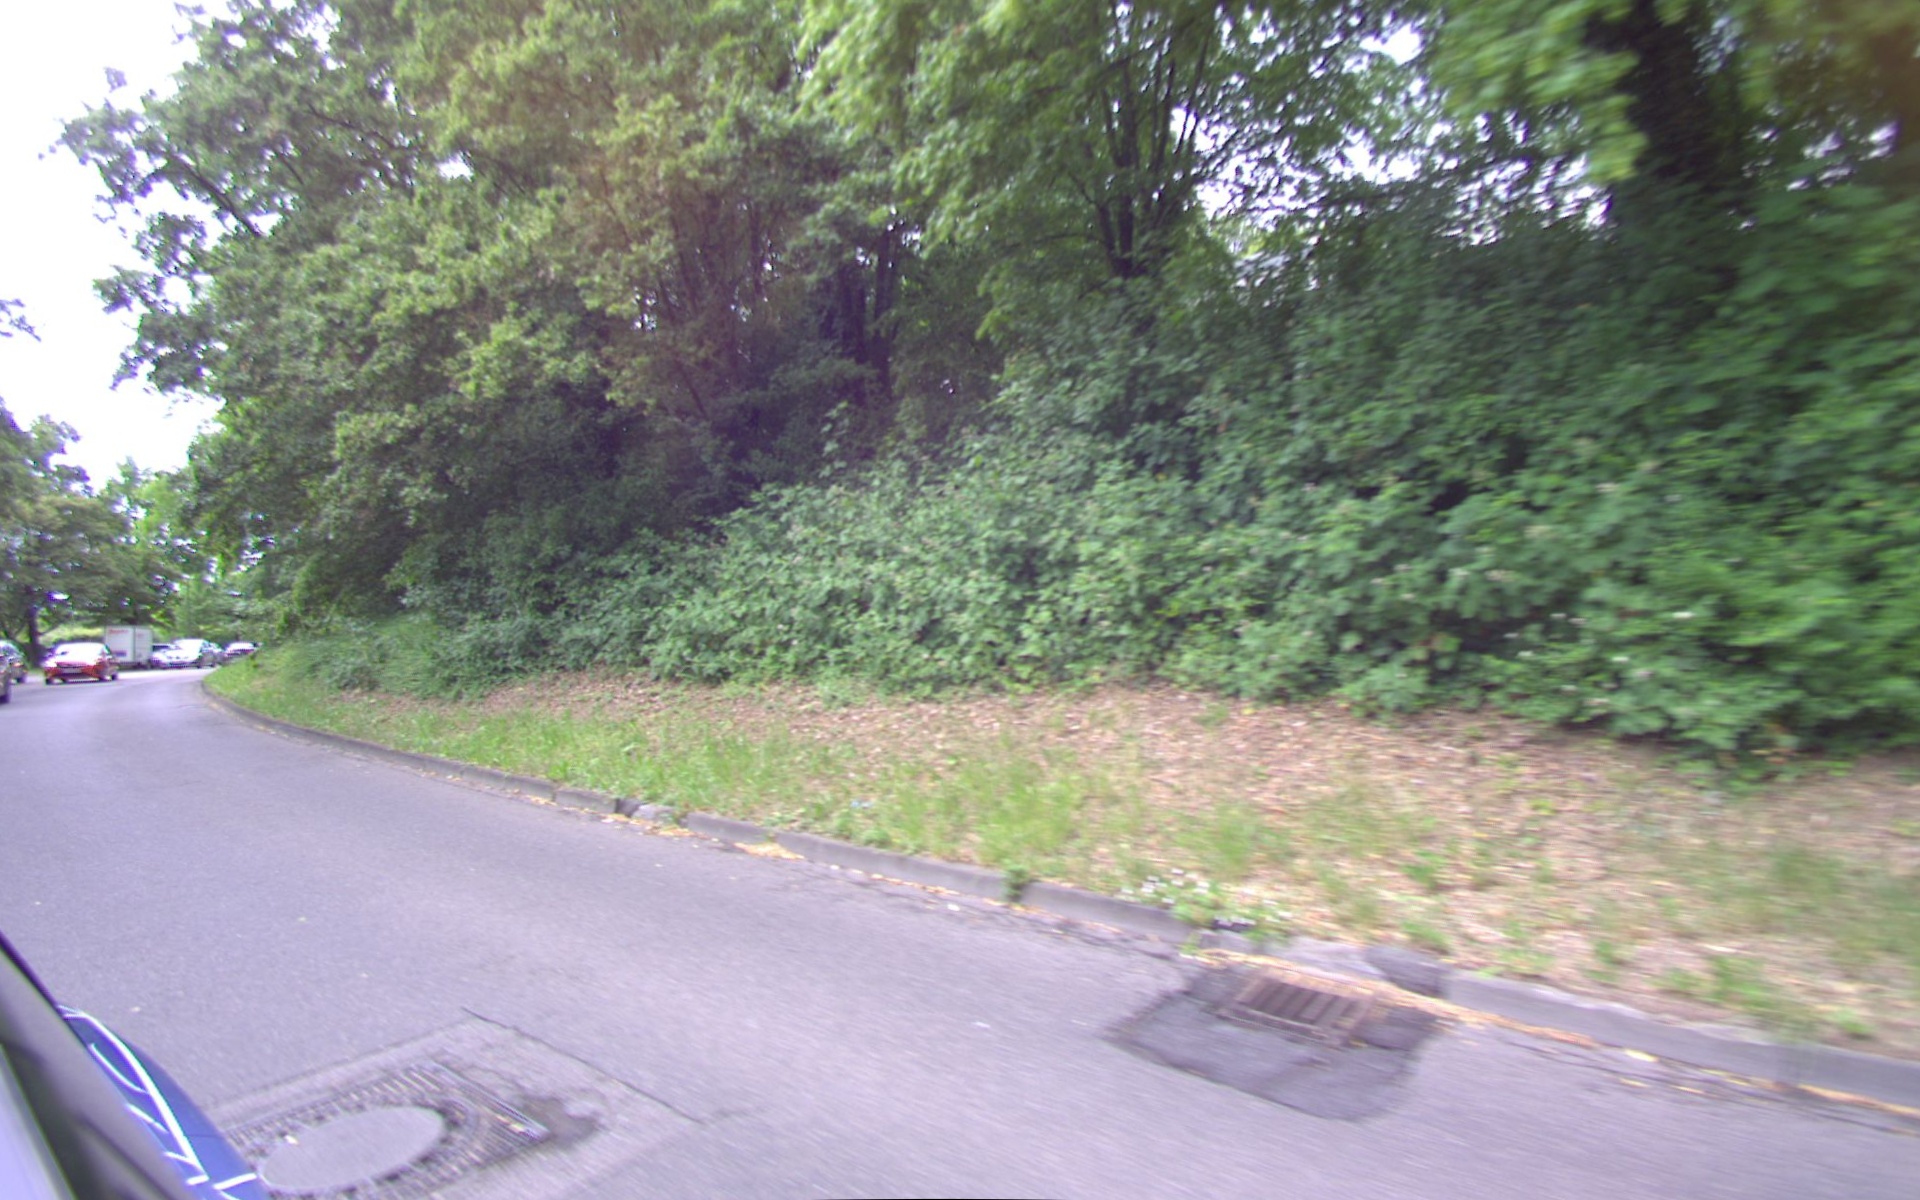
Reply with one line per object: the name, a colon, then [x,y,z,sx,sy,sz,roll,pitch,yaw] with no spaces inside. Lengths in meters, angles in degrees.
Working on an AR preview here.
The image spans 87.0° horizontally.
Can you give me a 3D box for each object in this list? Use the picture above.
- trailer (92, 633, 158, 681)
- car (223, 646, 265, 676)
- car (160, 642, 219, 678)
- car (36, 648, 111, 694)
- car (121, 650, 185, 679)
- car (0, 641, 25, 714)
trailer: [-44.950,3.067,54.567,1.736,2.445,3.899,-1,-2,-23]
car: [-38.997,3.291,55.128,1.767,1.399,4.502,-3,1,-35]
car: [-41.915,3.234,55.141,1.891,1.694,4.013,-1,0,-28]
car: [-33.010,2.591,37.645,1.840,1.460,4.179,4,-3,-44]
car: [-47.339,3.741,59.462,1.716,1.537,4.650,-1,-2,-23]
car: [-22.902,1.813,22.892,1.967,1.641,4.637,-2,-1,-35]
